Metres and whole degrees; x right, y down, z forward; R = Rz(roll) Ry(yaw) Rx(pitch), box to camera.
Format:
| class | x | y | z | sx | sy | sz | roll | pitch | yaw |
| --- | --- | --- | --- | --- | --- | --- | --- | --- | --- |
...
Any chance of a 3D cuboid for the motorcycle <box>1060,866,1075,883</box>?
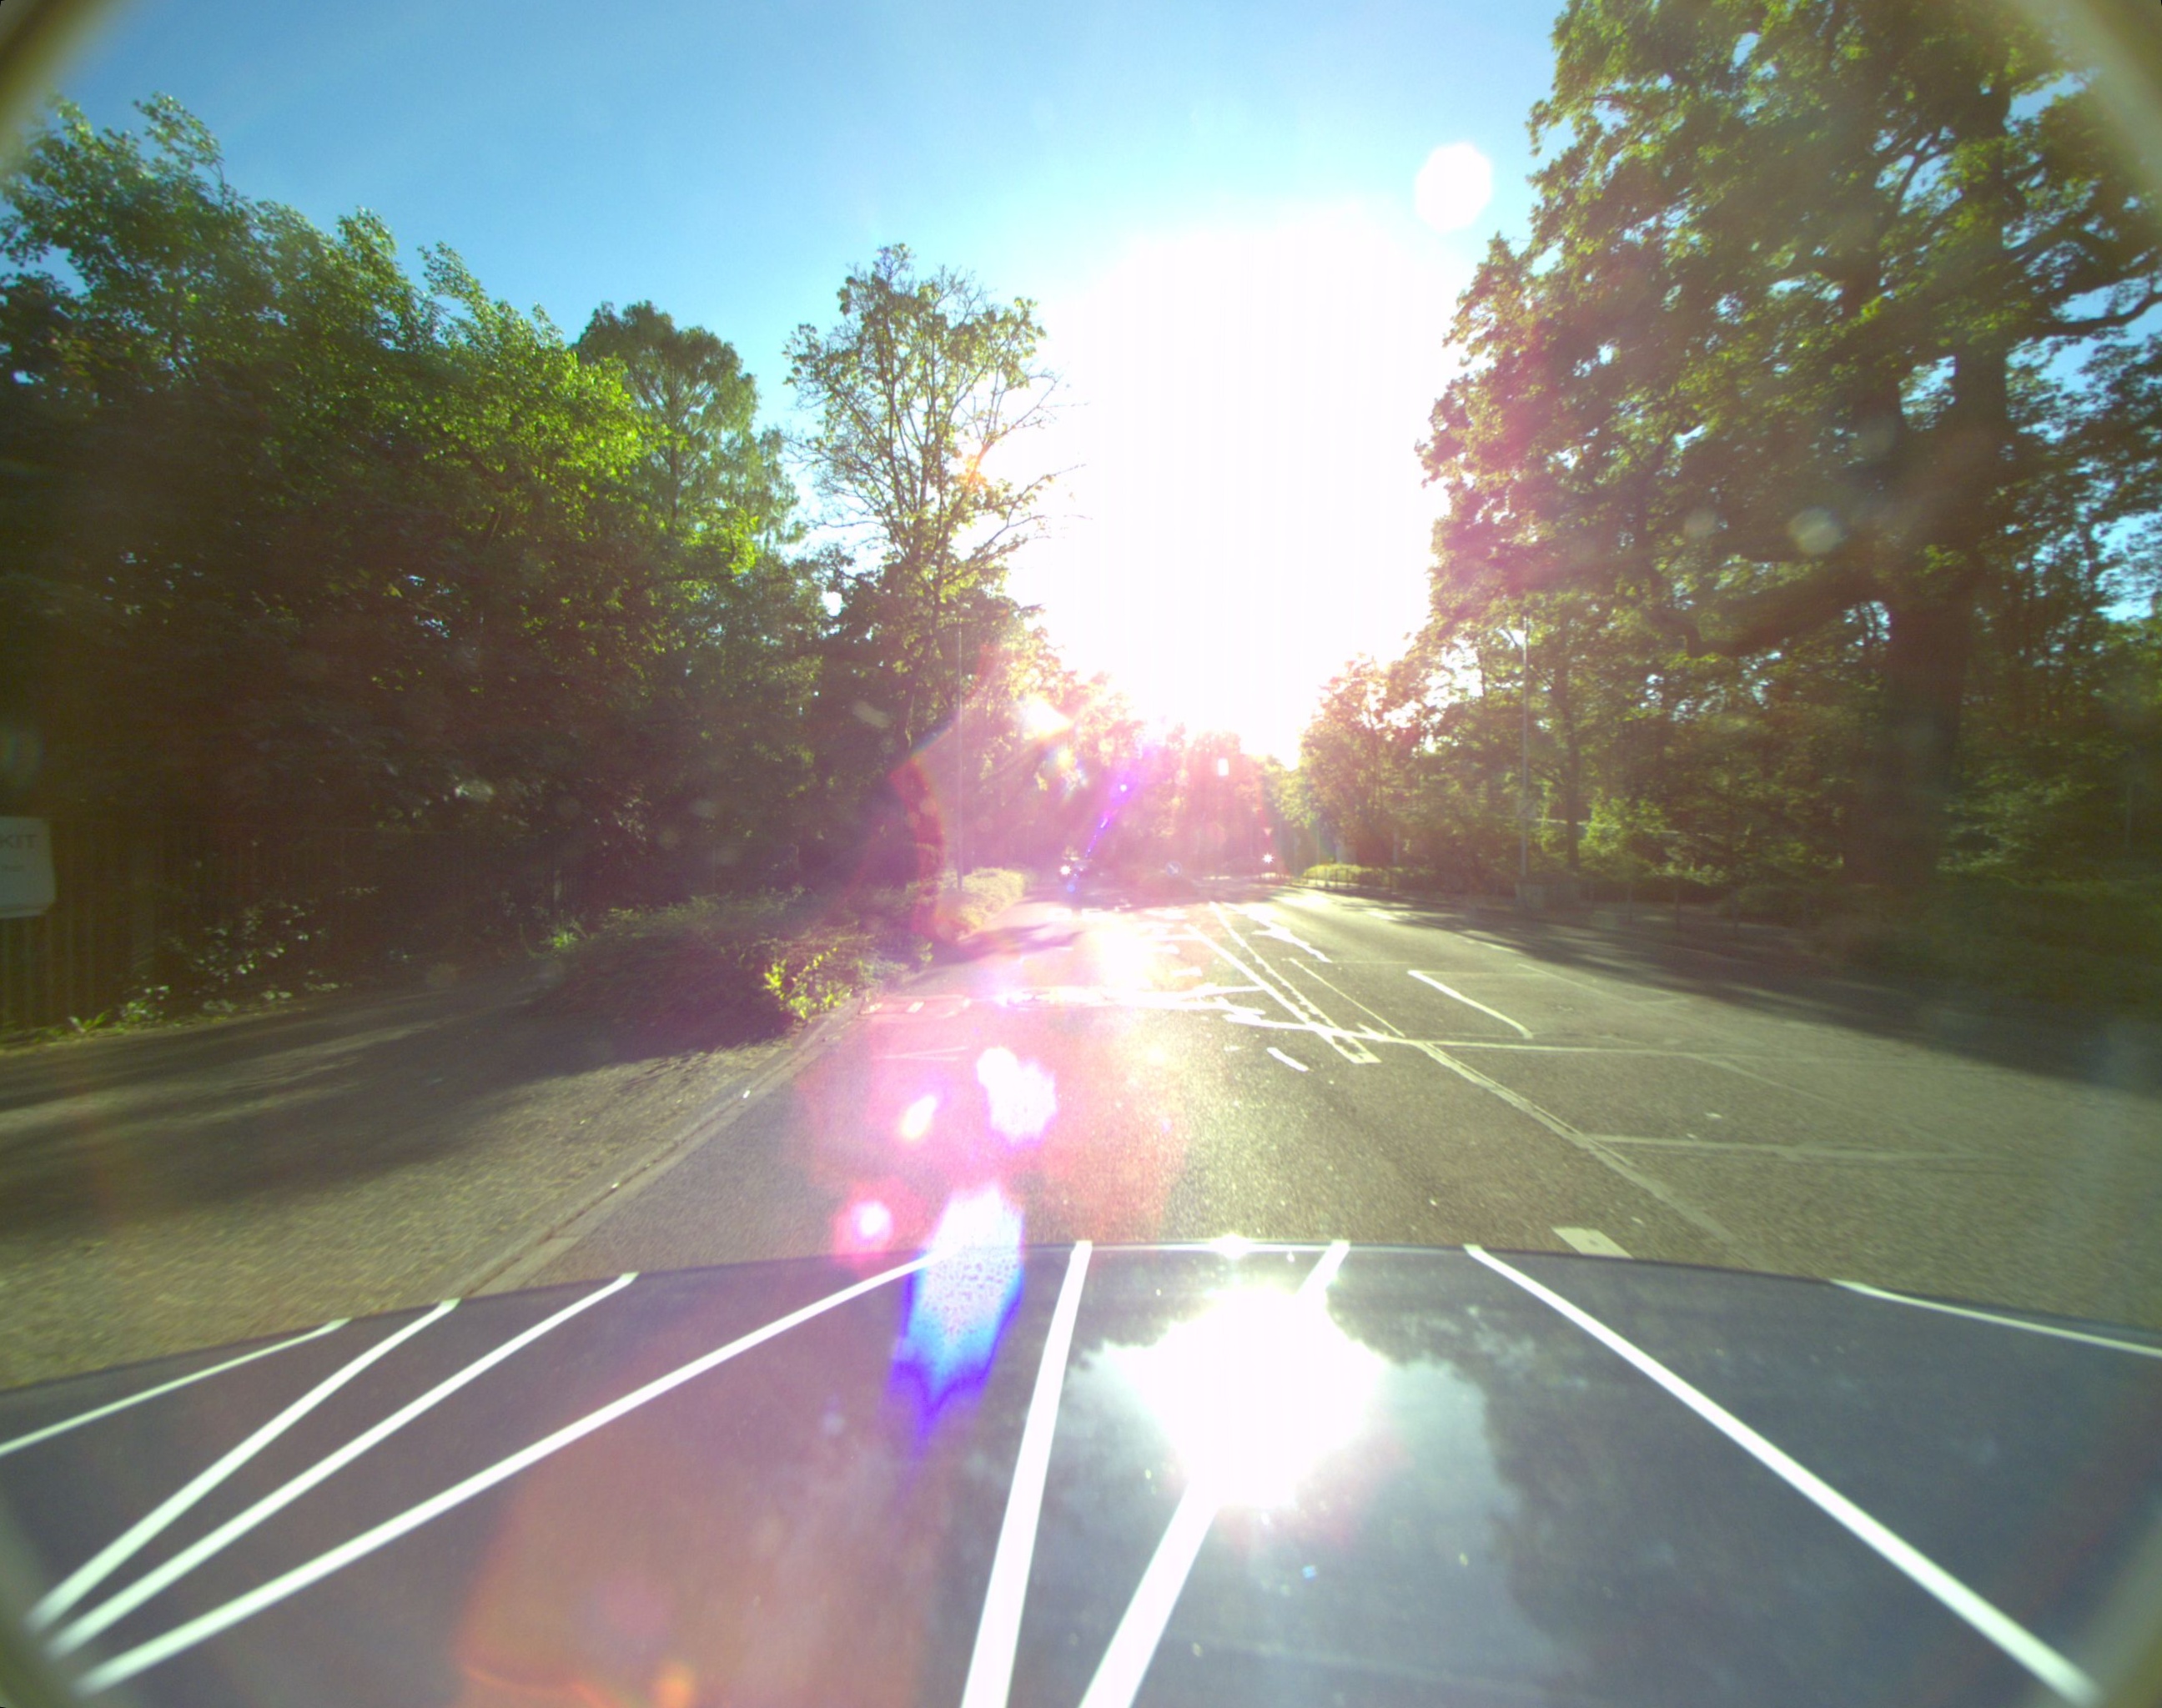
| class | x | y | z | sx | sy | sz | roll | pitch | yaw |
| --- | --- | --- | --- | --- | --- | --- | --- | --- | --- |
| motorcycle | -0.783 | 1.218 | 45.442 | 0.807 | 0.907 | 2.712 | -2 | 0 | 0 |

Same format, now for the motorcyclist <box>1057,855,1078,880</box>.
| class | x | y | z | sx | sy | sz | roll | pitch | yaw |
| --- | --- | --- | --- | --- | --- | --- | --- | --- | --- |
| motorcyclist | -0.786 | 0.780 | 45.351 | 1.138 | 1.419 | 1.566 | -2 | 0 | 0 |

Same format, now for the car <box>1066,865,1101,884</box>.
| class | x | y | z | sx | sy | sz | roll | pitch | yaw |
| --- | --- | --- | --- | --- | --- | --- | --- | --- | --- |
| car | 0.252 | 1.600 | 60.269 | 1.865 | 1.381 | 4.004 | 0 | 0 | 14 |
